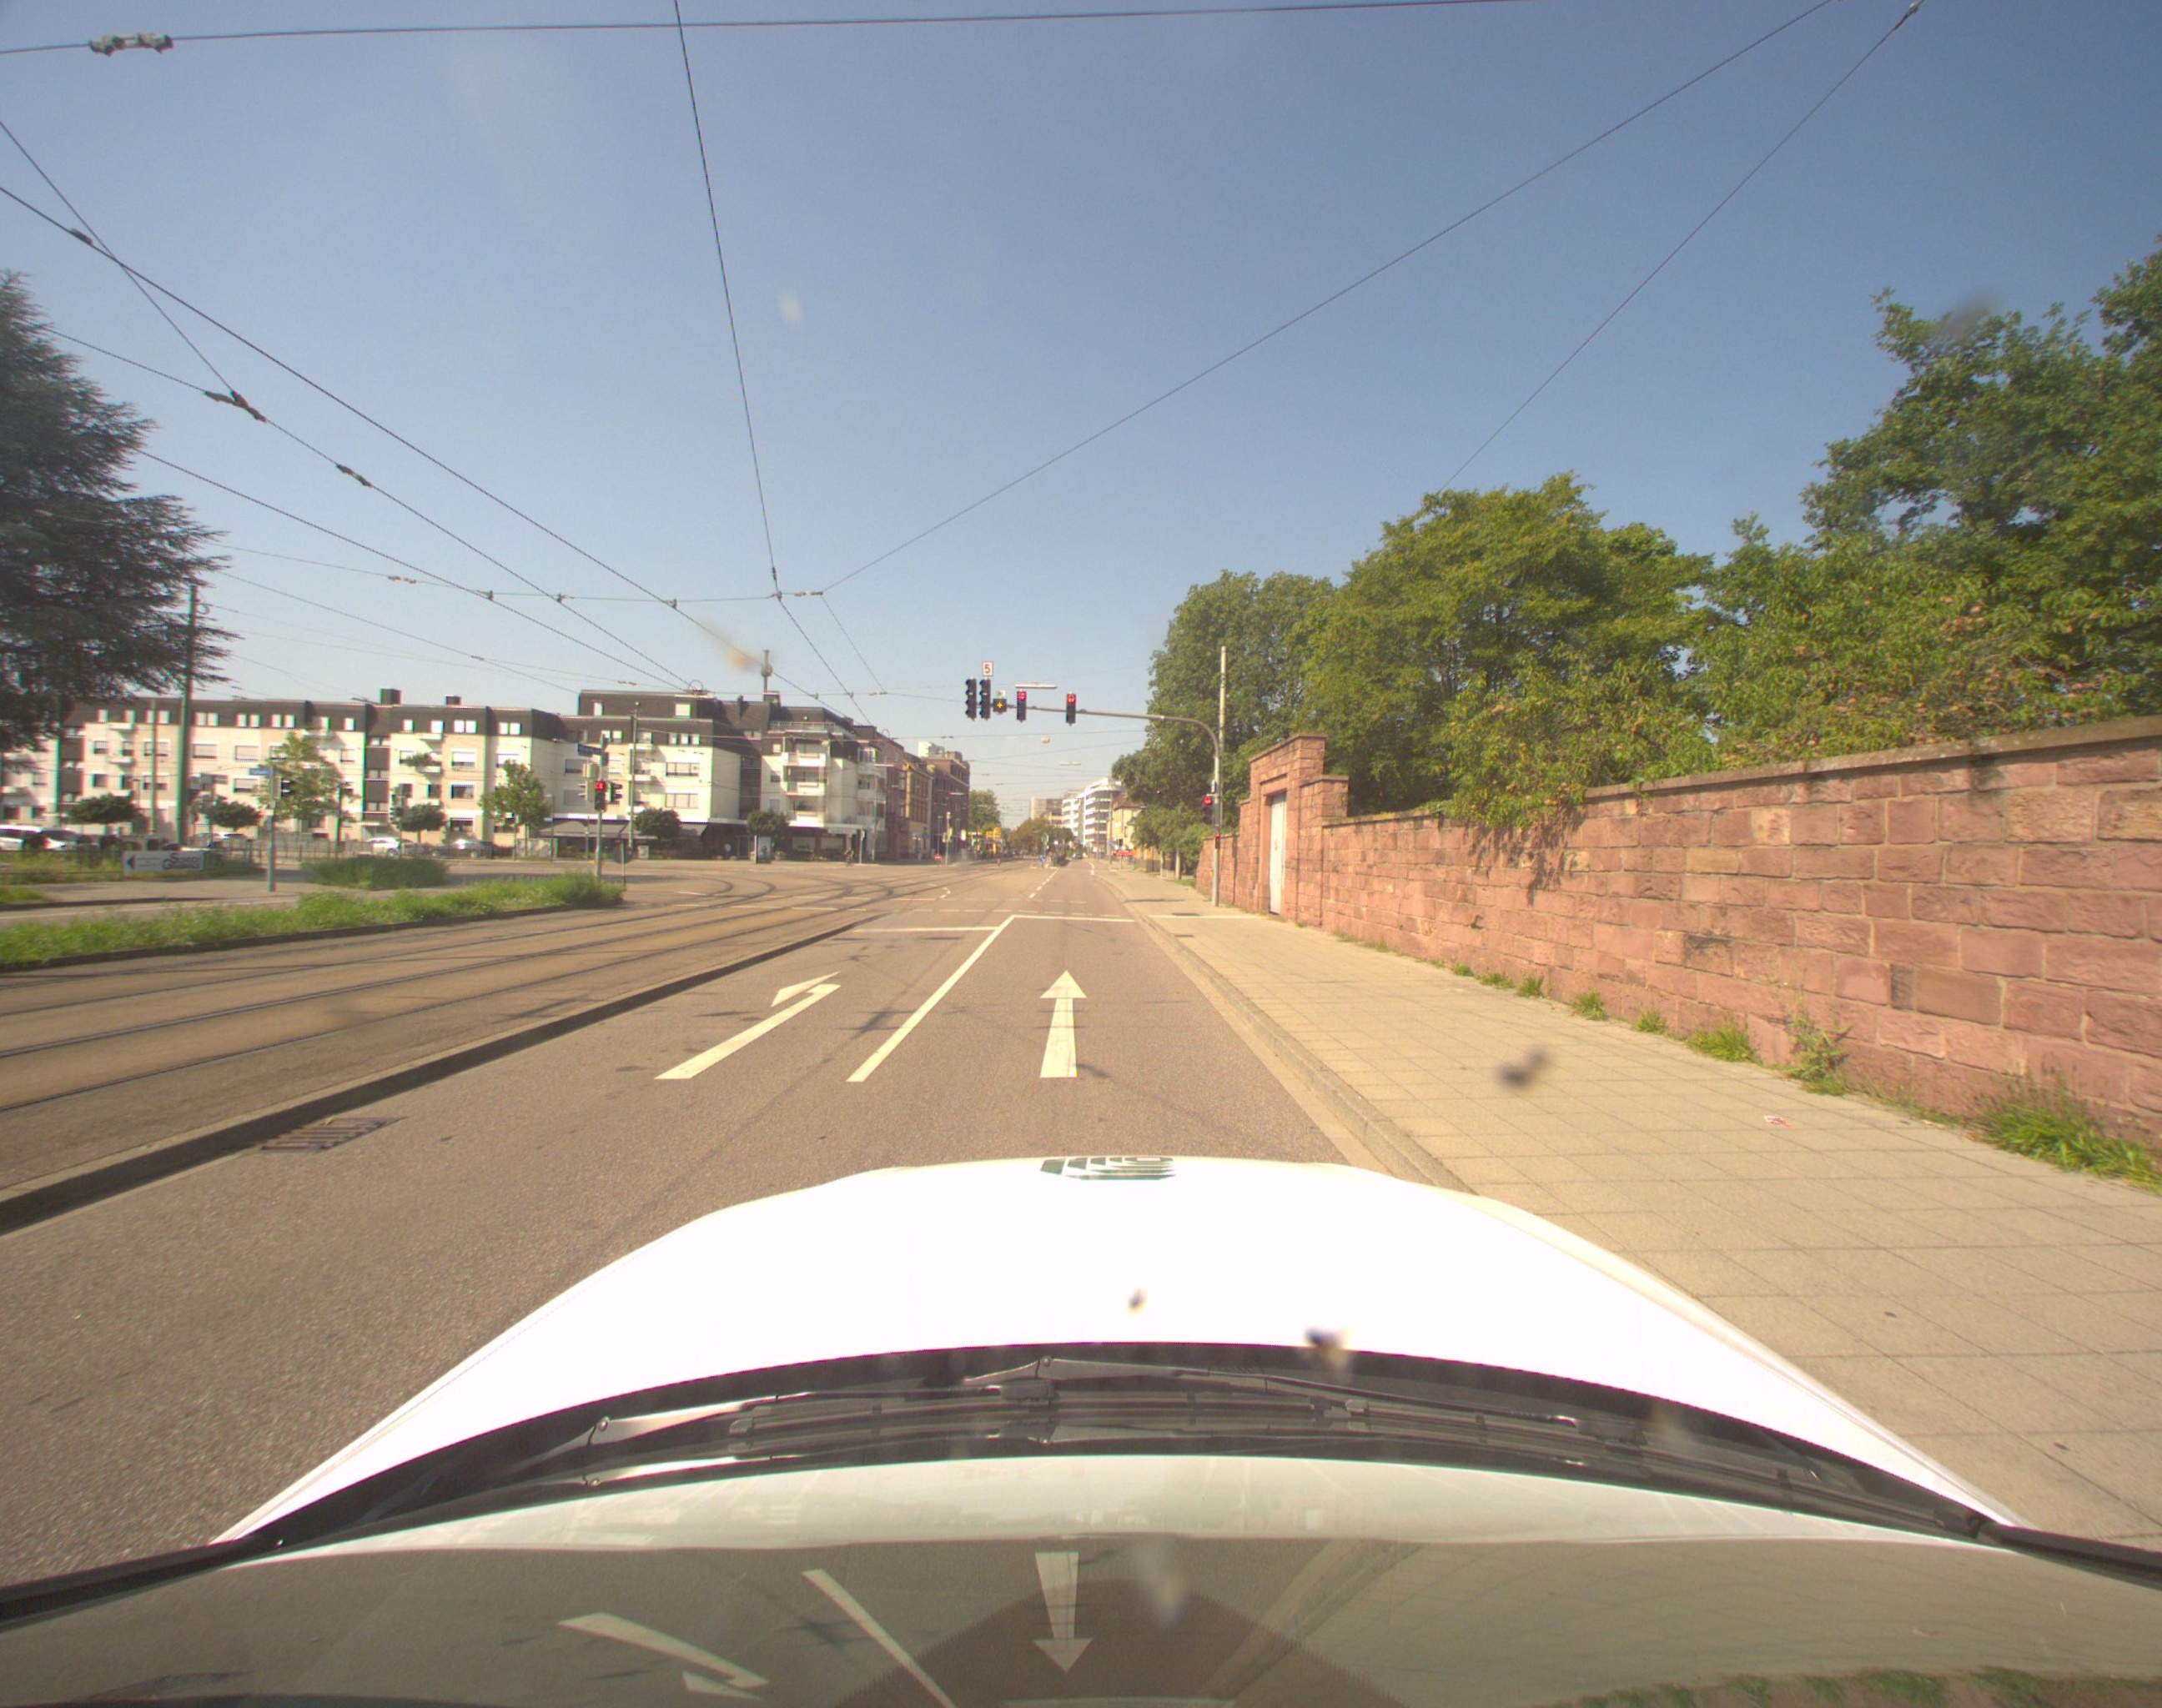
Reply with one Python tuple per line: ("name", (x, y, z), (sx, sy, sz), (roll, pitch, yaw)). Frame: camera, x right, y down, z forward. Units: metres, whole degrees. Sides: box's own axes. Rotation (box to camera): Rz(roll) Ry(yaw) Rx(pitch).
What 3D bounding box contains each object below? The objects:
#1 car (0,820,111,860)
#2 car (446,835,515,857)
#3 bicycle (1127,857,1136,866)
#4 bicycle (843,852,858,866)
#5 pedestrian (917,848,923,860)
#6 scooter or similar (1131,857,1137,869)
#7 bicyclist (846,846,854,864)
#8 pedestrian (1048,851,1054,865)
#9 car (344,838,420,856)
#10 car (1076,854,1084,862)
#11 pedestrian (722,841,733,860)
("car", (-52.328, -0.707, 41.342), (3.998, 1.886, 1.824), (2, 0, 1))
("car", (-49.247, -0.644, 66.827), (4.097, 1.507, 1.929), (3, 0, -1))
("bicycle", (6.823, 1.047, 110.780), (0.730, 1.132, 2.832), (-2, 0, -7))
("bicycle", (-19.392, 0.404, 68.525), (0.573, 1.179, 2.209), (0, 0, 2))
("pedestrian", (-21.502, 0.000, 108.804), (0.480, 1.560, 0.889), (2, -1, 11))
("scooter or similar", (5.133, 0.862, 78.791), (0.521, 1.133, 1.511), (0, 0, 1))
("bicyclist", (-19.396, 0.081, 68.424), (0.566, 1.523, 0.490), (0, 0, 1))
("pedestrian", (-3.863, 0.520, 105.034), (0.717, 1.703, 0.884), (0, 0, 1))
("car", (-51.926, -0.493, 60.555), (4.097, 1.299, 1.672), (0, 0, -1))
("car", (-0.259, 0.947, 200.216), (2.004, 1.859, 4.001), (0, 0, 1))
("pedestrian", (-31.983, -0.325, 73.772), (0.677, 1.741, 0.698), (0, 0, 1))
